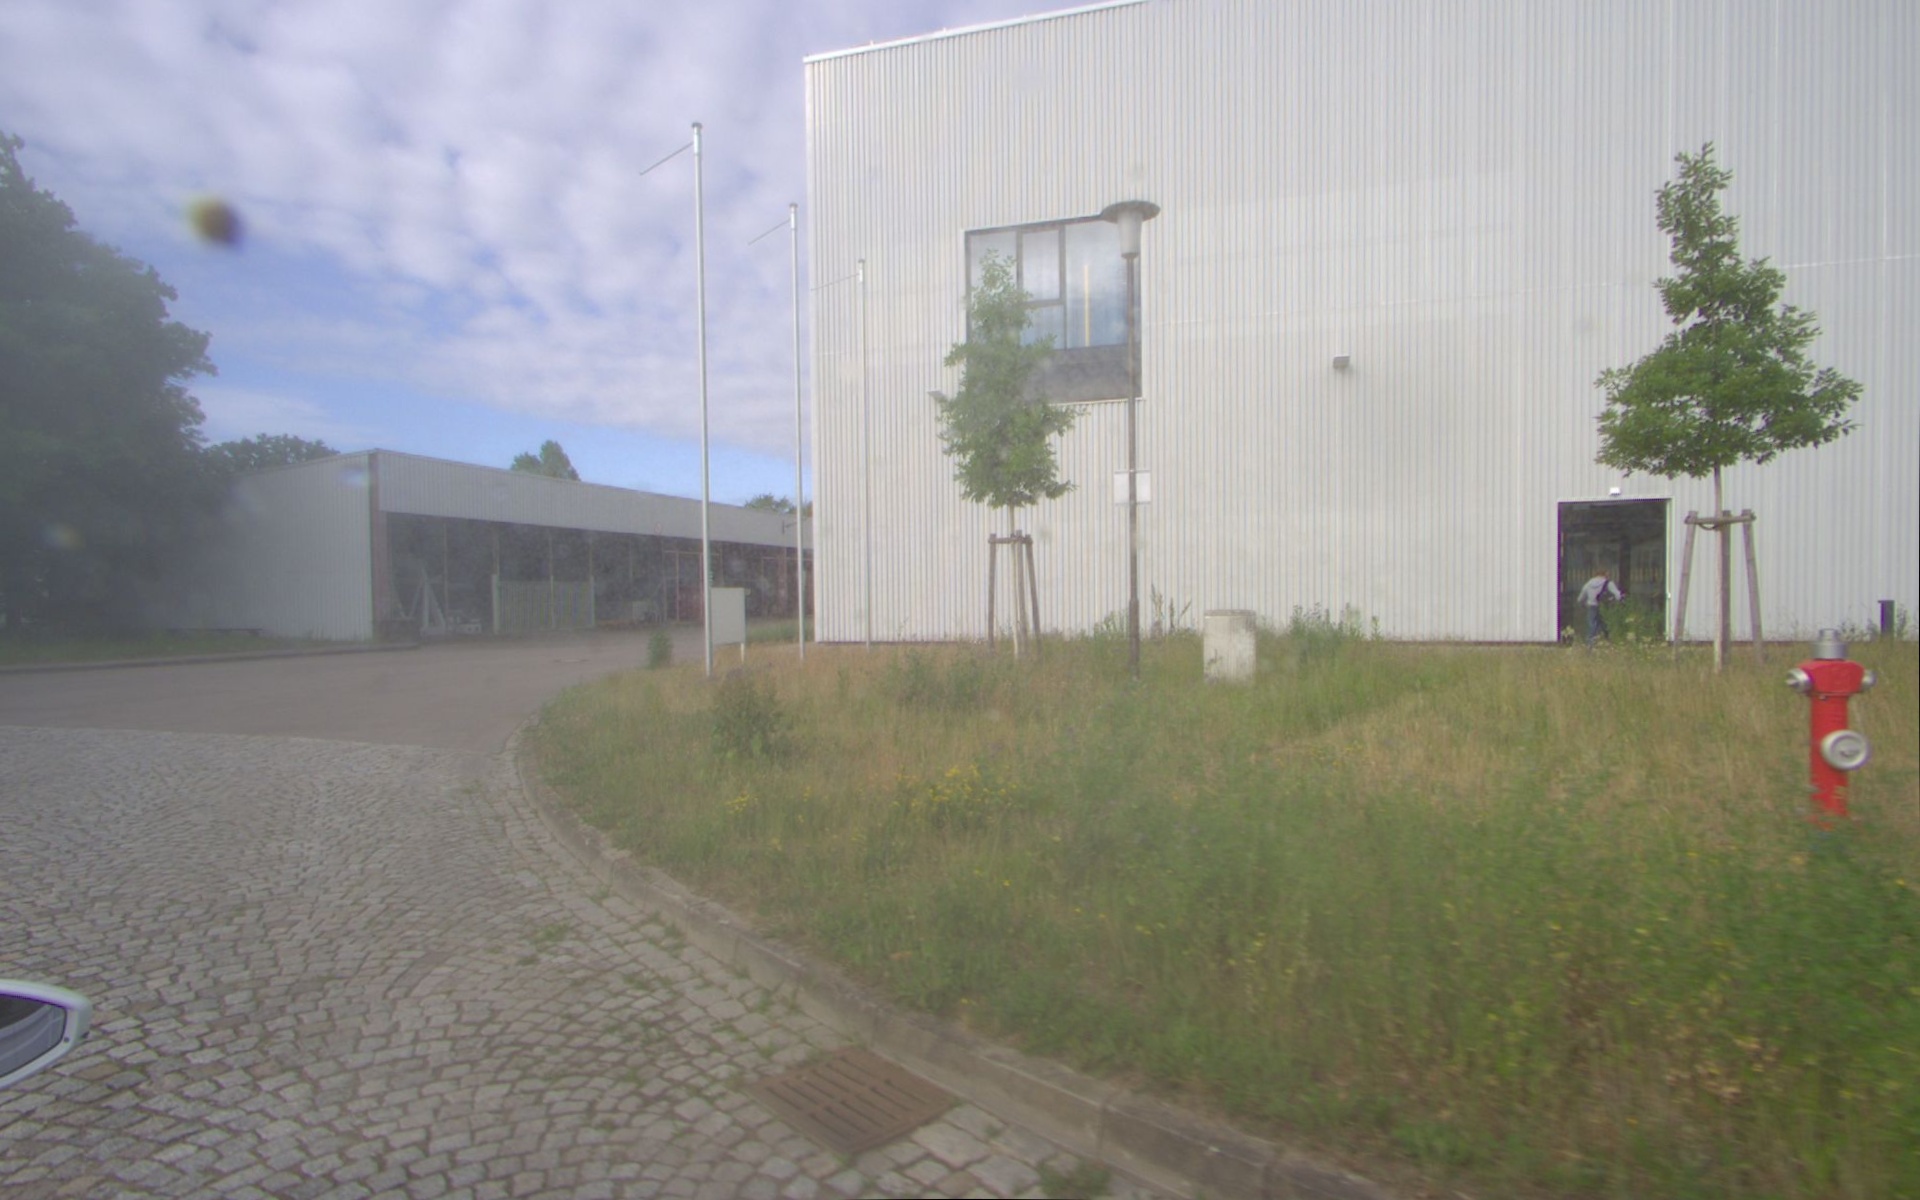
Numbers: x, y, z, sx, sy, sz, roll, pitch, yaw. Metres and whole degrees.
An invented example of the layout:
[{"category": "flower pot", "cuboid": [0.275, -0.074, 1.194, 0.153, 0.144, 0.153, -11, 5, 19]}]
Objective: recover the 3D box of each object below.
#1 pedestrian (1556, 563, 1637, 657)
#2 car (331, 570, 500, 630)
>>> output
[{"category": "pedestrian", "cuboid": [11.161, 0.154, 17.553, 1.062, 1.577, 1.070, 0, 2, 41]}, {"category": "car", "cuboid": [-19.563, 0.009, 36.055, 5.239, 2.041, 2.245, -1, 1, 16]}]
